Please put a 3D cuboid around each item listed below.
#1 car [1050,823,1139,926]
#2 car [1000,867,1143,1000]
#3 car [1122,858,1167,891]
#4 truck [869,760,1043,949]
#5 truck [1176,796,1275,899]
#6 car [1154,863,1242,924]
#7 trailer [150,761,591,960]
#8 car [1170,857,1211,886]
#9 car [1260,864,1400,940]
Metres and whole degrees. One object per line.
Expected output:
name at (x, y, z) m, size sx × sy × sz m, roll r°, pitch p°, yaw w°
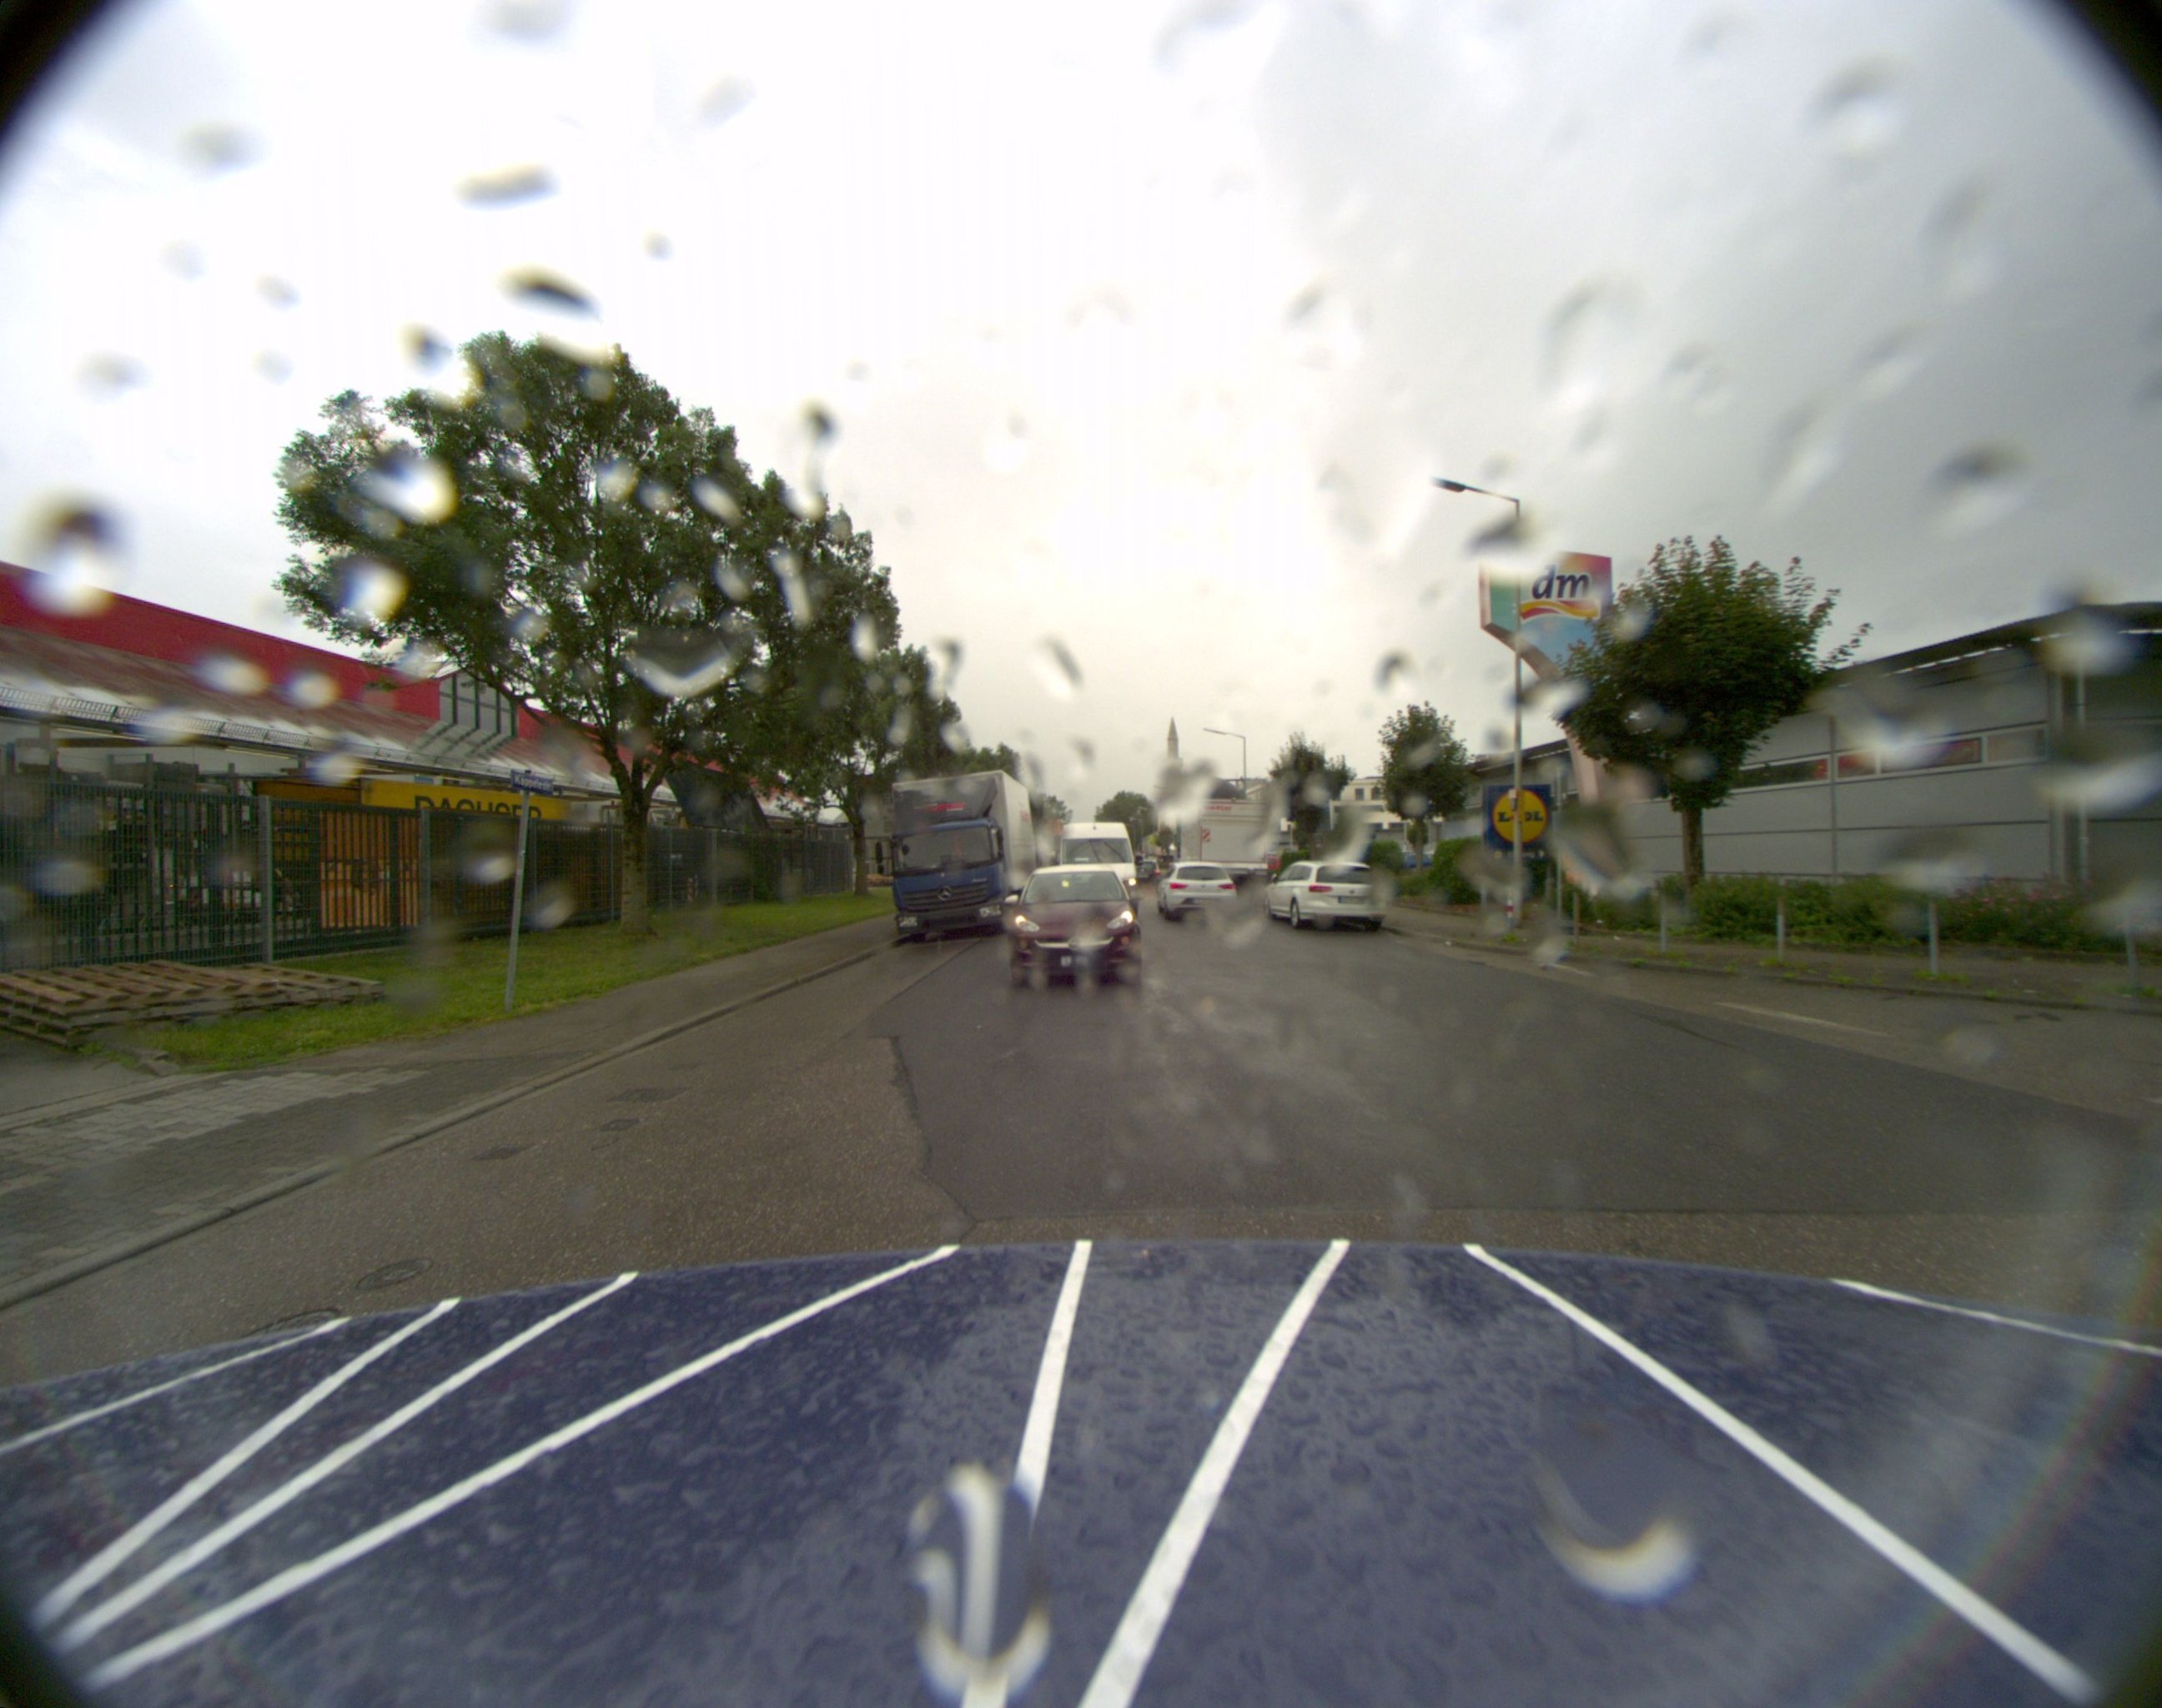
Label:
car at (0.419, 0.496, 21.046) m, size 2.084 × 2.466 × 5.347 m, roll -1°, pitch 0°, yaw 2°
car at (-0.086, 0.974, 10.801) m, size 1.637 × 1.446 × 3.578 m, roll -2°, pitch 0°, yaw 1°
car at (2.867, 0.900, 34.973) m, size 1.735 × 1.432 × 4.000 m, roll 0°, pitch 0°, yaw 0°
truck at (-2.749, 0.020, 19.447) m, size 2.678 × 3.670 × 8.010 m, roll -4°, pitch 0°, yaw 2°
truck at (5.786, -0.231, 31.685) m, size 2.888 × 3.724 × 7.868 m, roll -1°, pitch 0°, yaw 2°
car at (2.975, 0.957, 20.065) m, size 1.735 × 1.432 × 4.000 m, roll 0°, pitch 0°, yaw 1°
trailer at (-18.195, 0.062, 20.928) m, size 2.974 × 4.219 × 9.470 m, roll -1°, pitch 1°, yaw 1°
car at (5.786, 0.908, 40.481) m, size 1.691 × 1.457 × 3.513 m, roll -1°, pitch 0°, yaw 0°
car at (5.459, 0.981, 17.287) m, size 1.840 × 1.426 × 4.492 m, roll 0°, pitch 0°, yaw 2°
